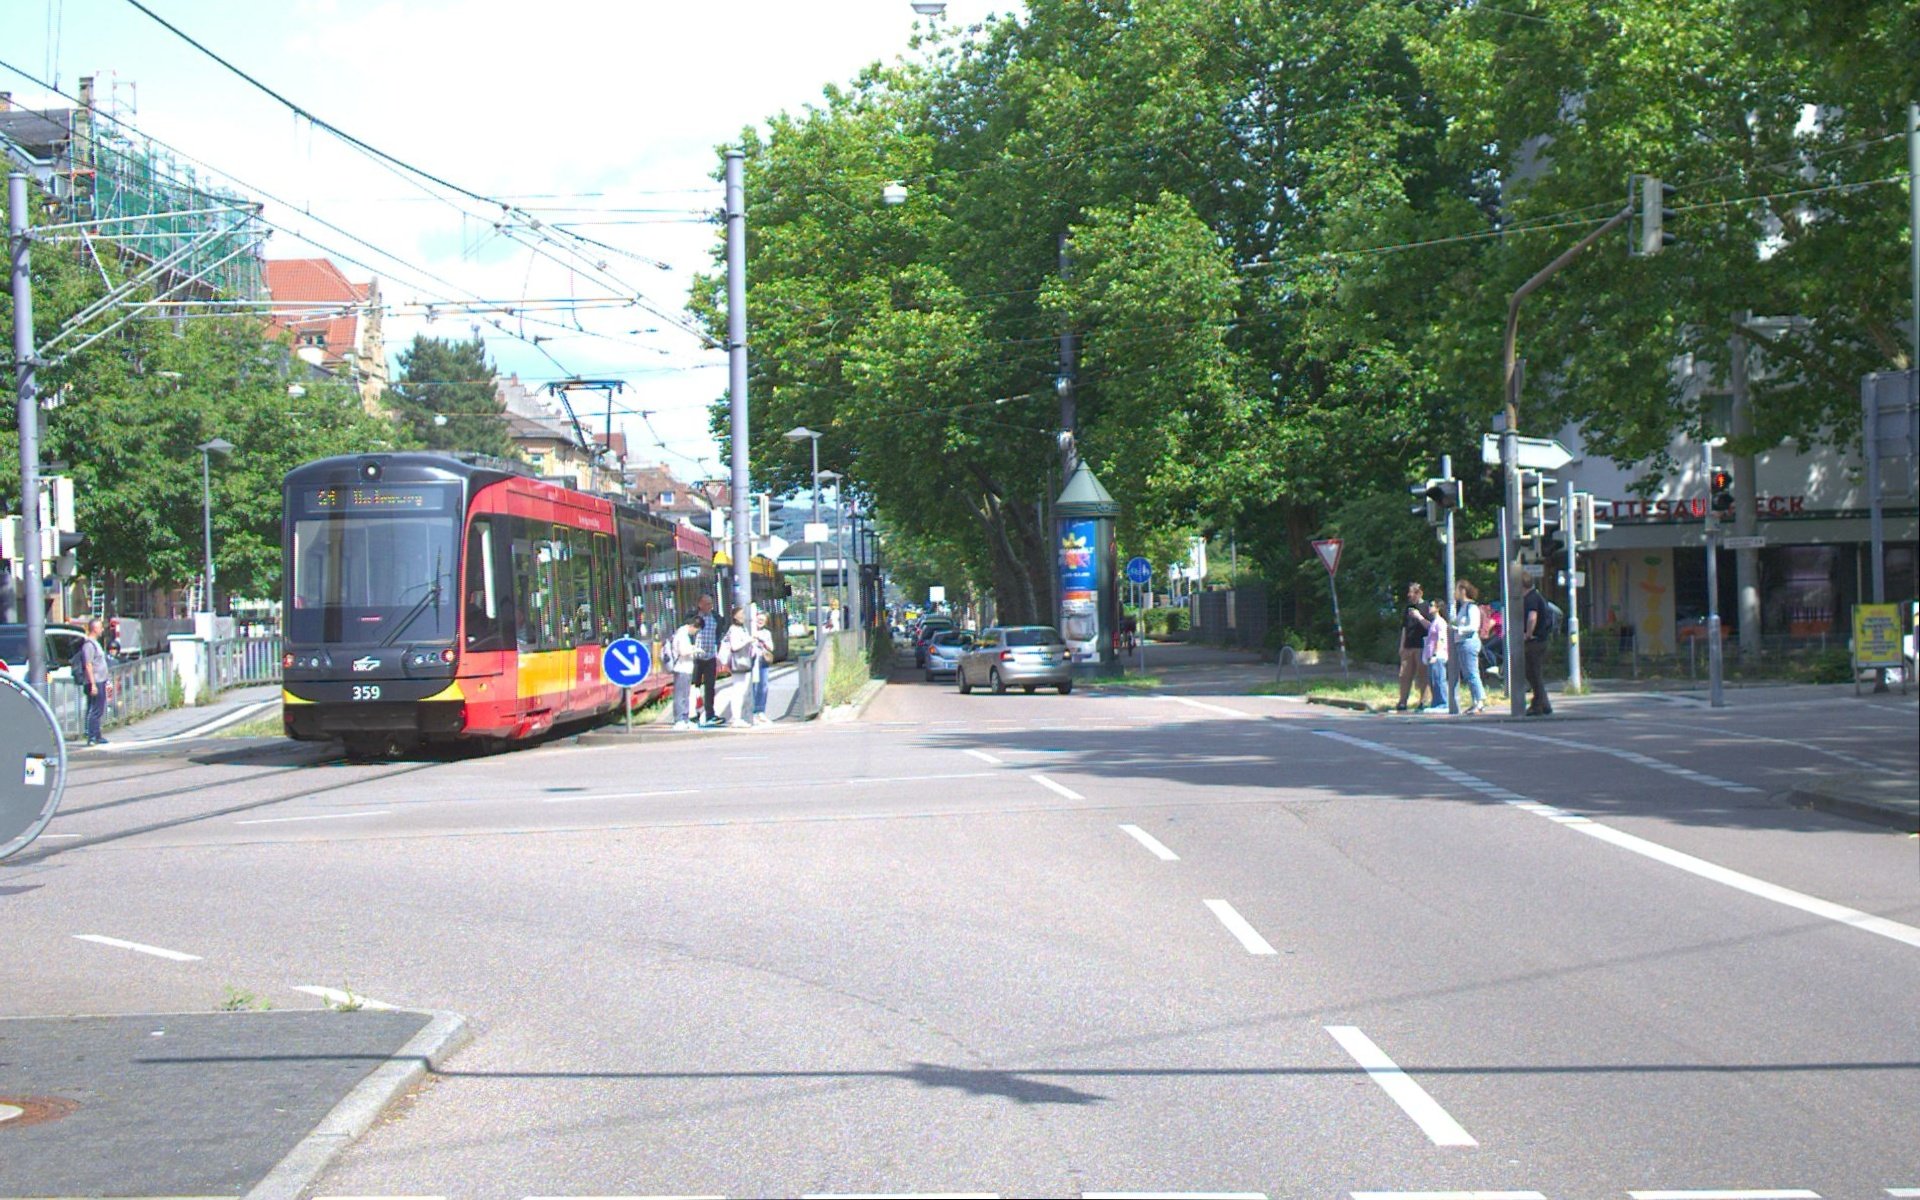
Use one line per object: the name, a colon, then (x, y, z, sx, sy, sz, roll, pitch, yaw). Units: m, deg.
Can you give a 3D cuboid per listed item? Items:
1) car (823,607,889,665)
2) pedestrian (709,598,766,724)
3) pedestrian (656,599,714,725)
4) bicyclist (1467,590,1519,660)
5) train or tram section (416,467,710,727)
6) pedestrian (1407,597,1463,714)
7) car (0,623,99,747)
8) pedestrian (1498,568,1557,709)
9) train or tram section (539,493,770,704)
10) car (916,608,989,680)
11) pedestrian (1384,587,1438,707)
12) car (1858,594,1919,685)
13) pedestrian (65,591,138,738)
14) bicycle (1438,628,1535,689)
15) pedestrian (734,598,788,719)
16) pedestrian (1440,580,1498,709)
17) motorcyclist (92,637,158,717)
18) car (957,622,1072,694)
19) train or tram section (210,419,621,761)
car: (-3.370, 1.157, 111.959, 1.815, 1.798, 4.000, -2, 0, 2)
pedestrian: (-3.026, 0.825, 46.828, 0.669, 1.697, 0.648, -2, 0, 2)
pedestrian: (-3.753, 0.839, 46.911, 0.669, 1.697, 0.648, -2, 0, 2)
bicyclist: (9.713, 0.453, 62.617, 0.812, 1.247, 0.481, 1, -1, 27)
train or tram section: (-5.944, -0.032, 53.510, 2.806, 3.549, 11.180, -2, 0, 2)
pedestrian: (6.600, 0.768, 47.782, 0.510, 1.592, 0.556, -1, 0, -21)
car: (-15.604, 1.349, 55.664, 1.993, 1.885, 5.172, -1, 0, 0)
pedestrian: (7.395, 0.497, 44.806, 0.481, 1.819, 0.555, -2, -1, 42)
train or tram section: (-5.589, -0.012, 65.150, 2.806, 3.549, 12.155, -2, 0, 2)
car: (-0.243, 1.232, 98.170, 1.993, 2.007, 4.000, 0, 0, -1)
pedestrian: (6.339, 0.657, 48.343, 0.510, 1.665, 0.556, -1, 0, -21)
car: (16.950, 0.614, 57.423, 3.662, 1.479, 1.735, -2, 0, 13)
pedestrian: (-11.904, 0.890, 47.680, 0.738, 2.007, 0.704, -1, 0, 5)
bicycle: (9.591, 1.057, 62.660, 1.679, 1.085, 0.481, 1, -1, 27)
pedestrian: (-2.830, 0.827, 48.909, 0.669, 1.697, 0.648, -2, 0, 2)
pedestrian: (6.881, 0.600, 46.483, 0.527, 1.729, 0.556, -1, 0, -21)
motorcyclist: (-15.140, 1.390, 62.330, 0.893, 1.399, 1.088, -1, 0, 0)
car: (1.131, 1.216, 72.975, 1.748, 1.448, 3.606, -2, 0, -10)
train or tram section: (-6.349, -0.098, 42.218, 2.796, 3.549, 11.376, -2, 0, 2)
